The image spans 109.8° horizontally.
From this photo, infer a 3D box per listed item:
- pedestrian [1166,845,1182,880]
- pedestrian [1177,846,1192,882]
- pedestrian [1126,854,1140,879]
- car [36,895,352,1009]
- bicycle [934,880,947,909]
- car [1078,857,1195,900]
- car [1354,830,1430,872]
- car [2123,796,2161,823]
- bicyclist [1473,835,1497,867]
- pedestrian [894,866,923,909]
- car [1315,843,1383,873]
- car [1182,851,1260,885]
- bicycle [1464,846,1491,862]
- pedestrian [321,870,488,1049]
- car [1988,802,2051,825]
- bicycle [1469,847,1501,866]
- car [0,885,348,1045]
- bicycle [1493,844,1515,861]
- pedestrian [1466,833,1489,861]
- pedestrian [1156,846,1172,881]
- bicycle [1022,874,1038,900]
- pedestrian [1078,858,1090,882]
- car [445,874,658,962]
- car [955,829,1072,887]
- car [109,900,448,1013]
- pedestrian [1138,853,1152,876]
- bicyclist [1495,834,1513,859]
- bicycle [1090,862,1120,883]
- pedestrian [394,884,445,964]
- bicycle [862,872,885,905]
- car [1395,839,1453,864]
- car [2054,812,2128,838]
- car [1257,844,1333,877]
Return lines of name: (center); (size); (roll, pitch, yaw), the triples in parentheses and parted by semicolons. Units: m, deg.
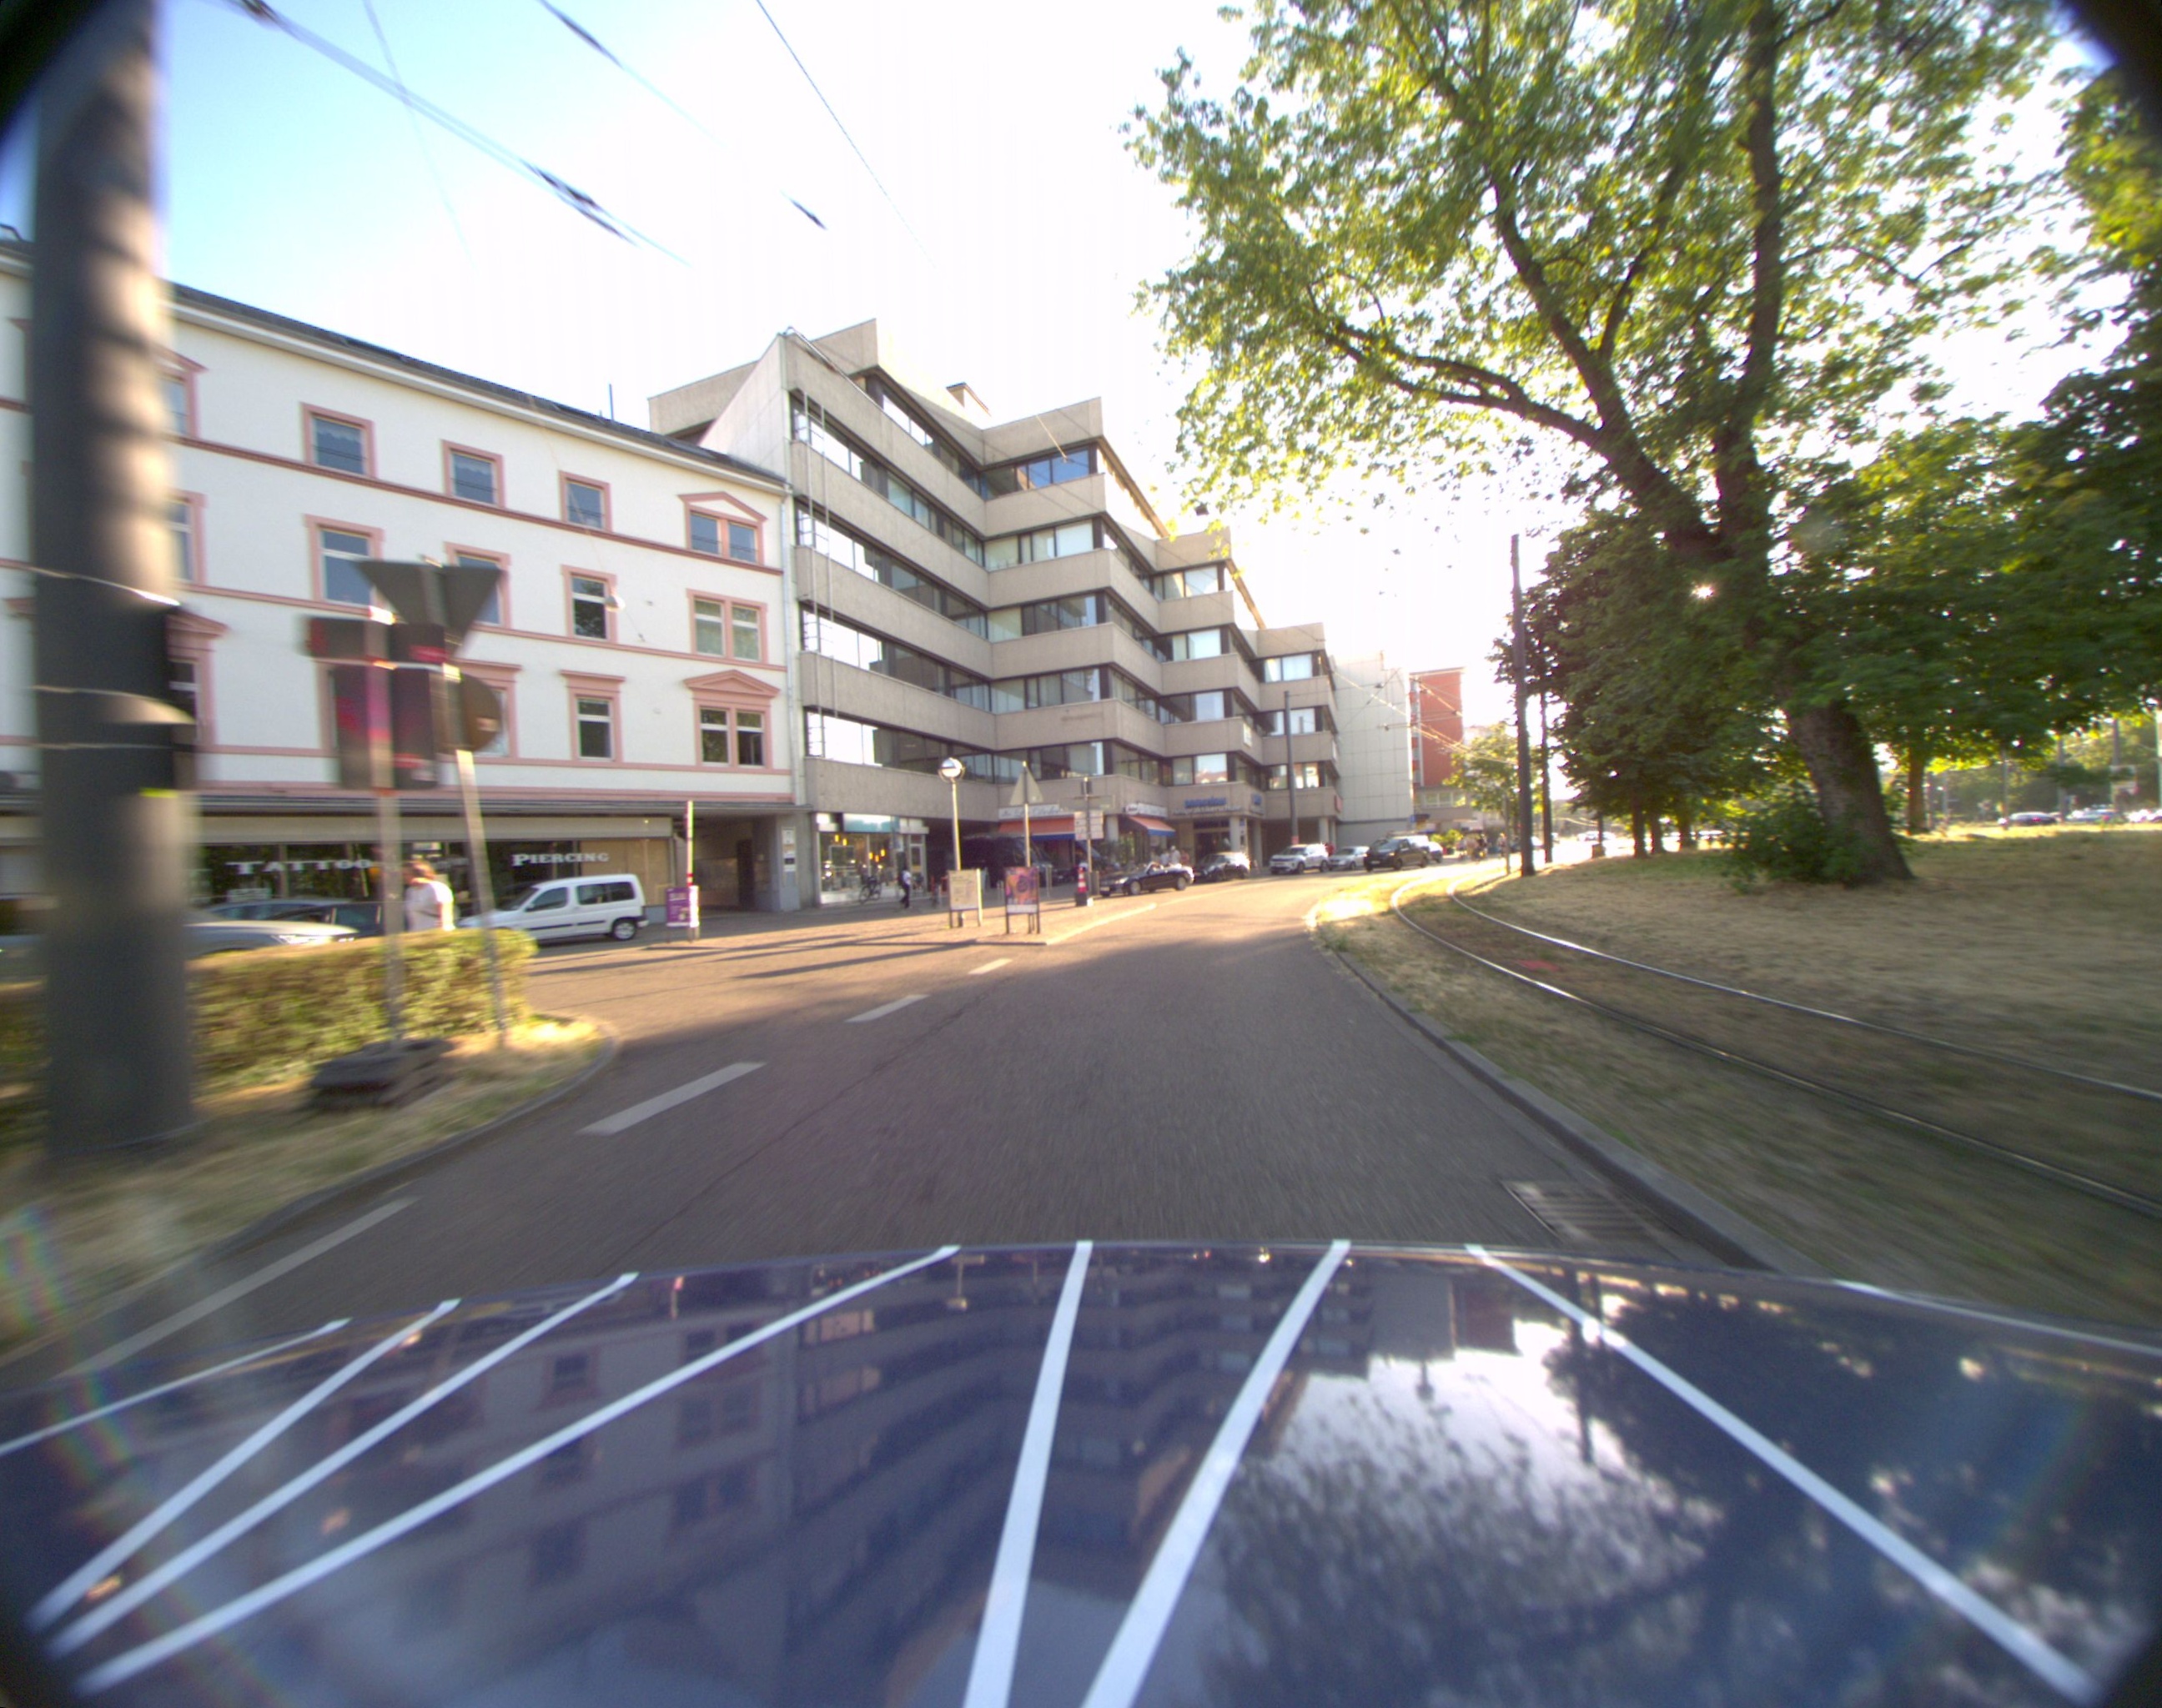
pedestrian: (4.930, 0.453, 40.179); (0.572, 1.828, 0.605); (3, 3, 35)
pedestrian: (5.384, 0.515, 39.509); (0.532, 1.828, 0.501); (3, 3, 35)
pedestrian: (2.865, 0.681, 41.595); (0.611, 1.313, 0.560); (-2, 1, 14)
car: (-18.025, 1.878, 15.788); (1.994, 1.631, 4.007); (1, 4, 44)
bicycle: (-5.187, 1.478, 27.987); (0.302, 0.987, 1.292); (-4, 0, -16)
car: (2.281, 0.956, 30.640); (4.531, 1.386, 1.995); (-4, 0, -40)
car: (17.772, -0.200, 43.322); (4.531, 2.143, 1.995); (-4, 0, -40)
car: (84.590, -3.488, 59.089); (1.996, 2.002, 4.554); (-3, 0, 21)
bicyclist: (25.617, -0.178, 48.153); (1.115, 1.962, 0.922); (-4, 1, -40)
pedestrian: (-6.394, 1.233, 28.210); (0.794, 1.528, 0.568); (-4, 3, -39)
car: (17.046, 0.237, 48.267); (4.531, 1.596, 1.995); (-4, 0, -40)
car: (7.246, 0.698, 39.084); (4.007, 1.433, 1.790); (-4, 0, -41)
bicycle: (29.041, -0.006, 55.618); (2.225, 1.070, 0.954); (-4, 0, -40)
pedestrian: (-7.056, 1.060, 7.978); (0.725, 1.720, 0.978); (-3, 0, 14)
car: (90.292, -3.888, 73.175); (1.996, 2.002, 4.005); (-3, 0, 21)
bicycle: (25.589, 0.164, 48.118); (2.225, 1.070, 0.934); (-4, 0, -40)
car: (-13.528, 1.475, 10.295); (4.716, 1.761, 1.996); (-4, 0, -29)
bicycle: (30.077, -0.100, 53.962); (0.872, 1.090, 1.853); (-3, 0, 44)
pedestrian: (29.022, -0.538, 55.618); (1.275, 1.961, 0.934); (-4, 1, -40)
pedestrian: (4.430, 0.507, 40.686); (0.619, 1.828, 0.537); (3, 3, 35)
bicycle: (-2.056, 1.327, 30.391); (0.302, 0.987, 1.292); (-4, 0, -16)
pedestrian: (0.161, 0.814, 39.300); (0.460, 1.188, 0.421); (2, 2, 24)
car: (-13.730, 1.543, 19.841); (4.237, 1.774, 1.927); (-4, 2, -43)
car: (-3.429, 0.208, 38.505); (5.422, 2.711, 2.184); (-1, 1, 20)
car: (-14.901, 1.794, 14.504); (4.170, 1.477, 1.932); (-4, 0, -42)
pedestrian: (3.676, 0.608, 43.688); (0.611, 1.313, 0.592); (-2, 1, 14)
bicyclist: (30.093, -0.531, 54.004); (0.859, 1.773, 0.988); (-2, 1, 44)
bicycle: (1.219, 0.920, 38.586); (1.446, 0.987, 0.531); (-1, 2, -4)
pedestrian: (-15.765, 1.645, 18.107); (0.796, 1.789, 0.637); (-4, 1, -43)
bicycle: (-8.203, 1.348, 30.070); (0.487, 1.185, 1.427); (-4, 0, 0)
car: (25.276, -0.190, 55.921); (4.531, 1.596, 1.995); (-4, 0, -40)
car: (87.353, -2.464, 65.797); (1.996, 2.002, 4.005); (-3, 0, 21)
car: (12.580, 0.375, 44.576); (4.531, 1.596, 1.995); (-4, 0, -40)
